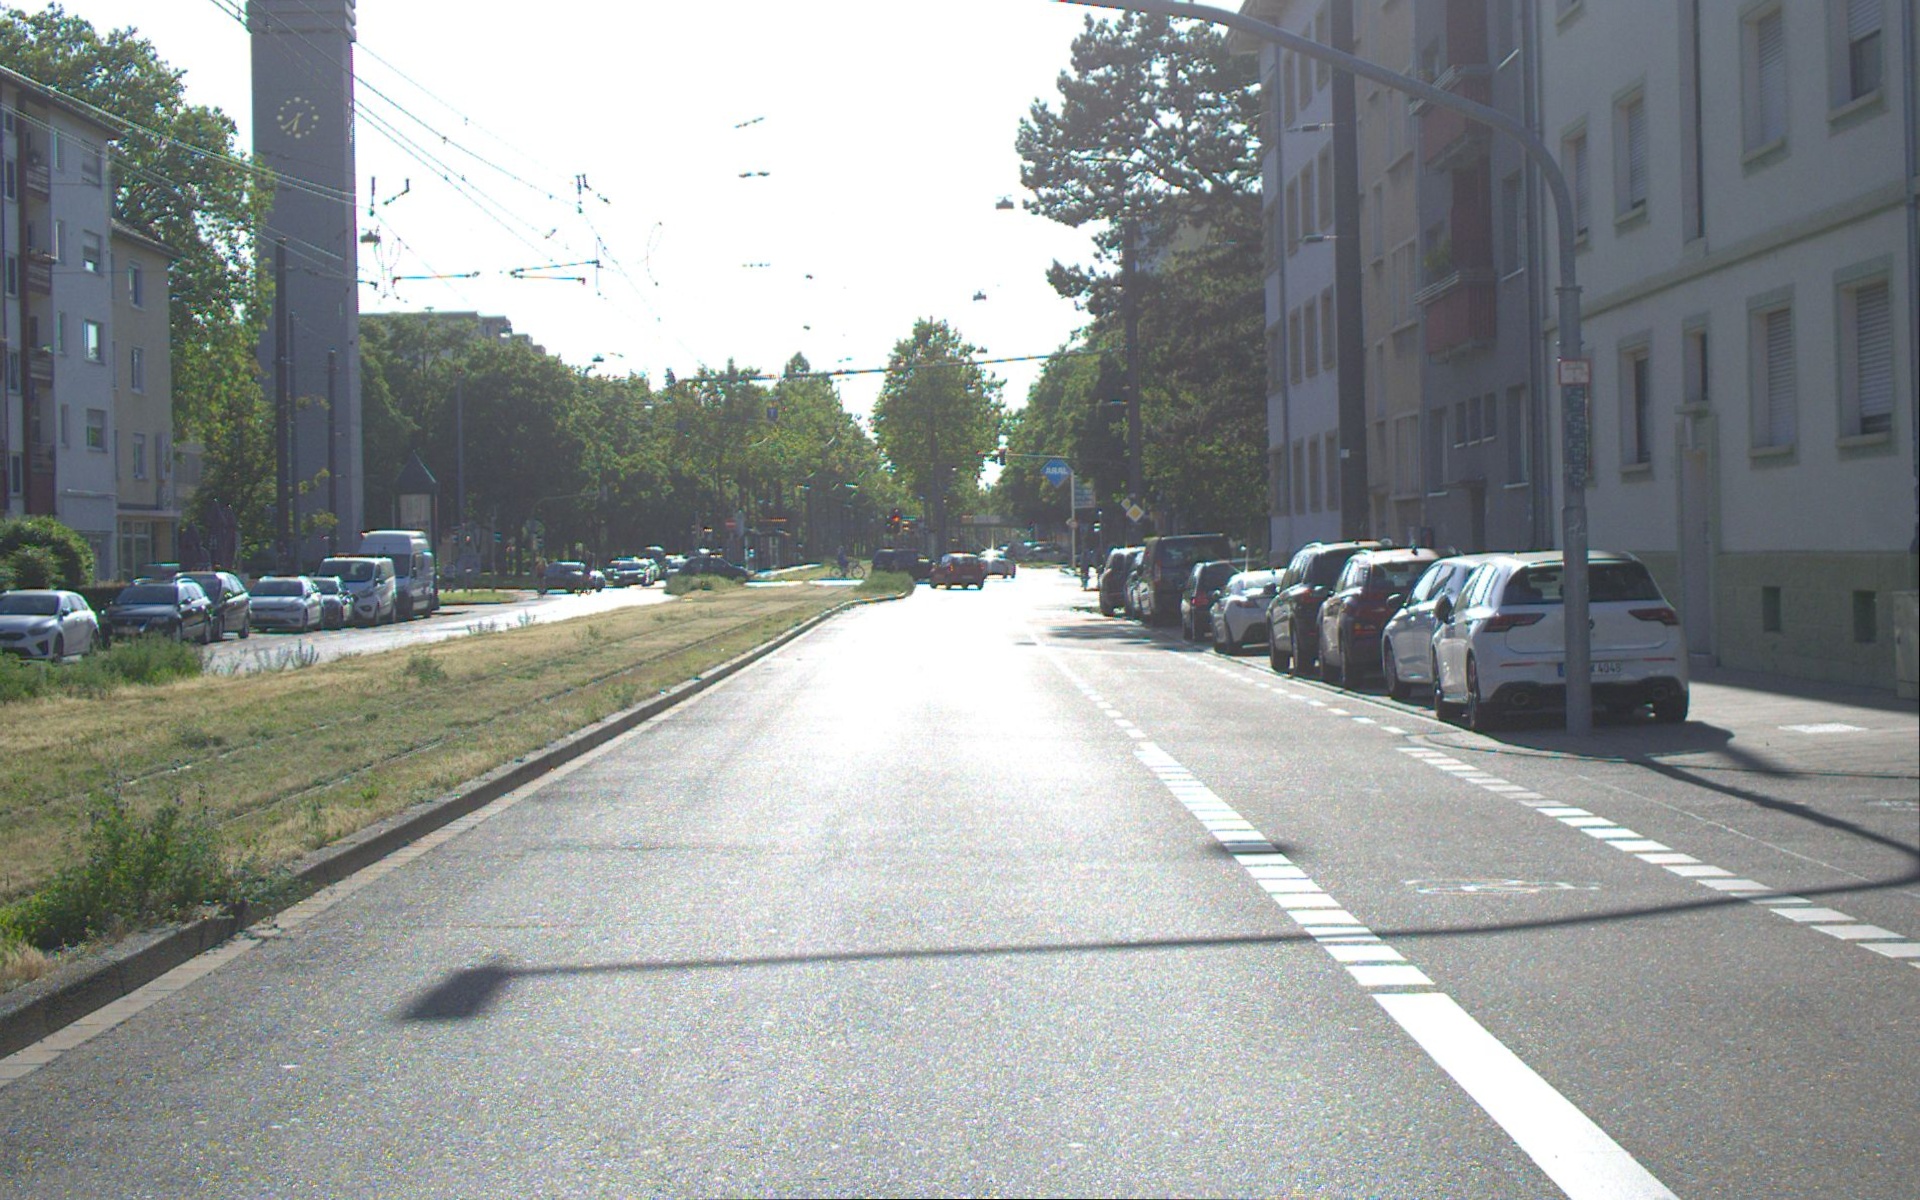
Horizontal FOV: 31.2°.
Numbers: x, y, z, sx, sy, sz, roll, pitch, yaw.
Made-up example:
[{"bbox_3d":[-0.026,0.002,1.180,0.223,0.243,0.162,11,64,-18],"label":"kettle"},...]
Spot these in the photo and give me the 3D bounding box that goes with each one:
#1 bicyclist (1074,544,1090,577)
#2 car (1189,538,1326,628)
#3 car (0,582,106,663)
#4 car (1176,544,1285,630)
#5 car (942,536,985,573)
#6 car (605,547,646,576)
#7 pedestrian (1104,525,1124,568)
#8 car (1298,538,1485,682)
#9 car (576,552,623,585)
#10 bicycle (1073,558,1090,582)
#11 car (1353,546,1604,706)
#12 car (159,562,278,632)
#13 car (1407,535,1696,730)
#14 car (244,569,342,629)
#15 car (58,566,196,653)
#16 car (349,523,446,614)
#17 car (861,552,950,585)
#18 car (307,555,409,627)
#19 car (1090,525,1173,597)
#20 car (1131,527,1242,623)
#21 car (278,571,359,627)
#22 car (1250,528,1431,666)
[{"bbox_3d":[5.076,-1.647,142.969,0.638,1.318,0.803,1,1,2],"label":"bicyclist"},{"bbox_3d":[4.824,-0.304,56.226,1.702,1.271,4.304,-5,1,-1],"label":"car"},{"bbox_3d":[-18.090,0.413,67.150,1.728,1.449,4.376,0,1,0],"label":"car"},{"bbox_3d":[5.017,-0.267,64.166,1.635,1.449,3.789,-4,1,0],"label":"car"},{"bbox_3d":[0.133,-1.950,146.655,1.694,1.503,3.699,1,1,-2],"label":"car"},{"bbox_3d":[-18.950,-2.185,194.900,1.806,1.527,4.361,-1,1,0],"label":"car"},{"bbox_3d":[6.693,-2.321,149.546,0.703,1.783,0.694,-4,2,6],"label":"pedestrian"},{"bbox_3d":[4.995,0.073,40.235,1.635,1.512,4.189,-2,1,0],"label":"car"},{"bbox_3d":[-17.030,-1.514,162.481,1.694,1.443,4.217,-2,1,1],"label":"car"},{"bbox_3d":[5.065,-1.233,142.913,0.648,0.969,1.803,1,1,3],"label":"bicycle"},{"bbox_3d":[5.220,0.218,35.098,1.635,1.453,4.082,-2,1,-4],"label":"car"},{"bbox_3d":[-18.153,-0.101,84.318,1.993,1.602,4.151,1,1,0],"label":"car"},{"bbox_3d":[4.975,0.218,29.462,1.694,1.453,4.379,-2,1,0],"label":"car"},{"bbox_3d":[-17.885,-0.042,92.358,1.892,1.486,4.704,1,1,-2],"label":"car"},{"bbox_3d":[-18.762,0.184,77.605,1.993,1.831,4.609,1,1,0],"label":"car"},{"bbox_3d":[-18.145,-1.053,111.120,2.032,2.859,6.228,0,1,1],"label":"car"},{"bbox_3d":[-2.820,-1.625,177.749,4.488,1.605,1.899,0,2,-43],"label":"car"},{"bbox_3d":[-18.146,-0.302,103.790,2.032,2.014,5.370,1,1,1],"label":"car"},{"bbox_3d":[4.485,-1.042,90.544,1.879,1.711,4.934,-4,1,1],"label":"car"},{"bbox_3d":[4.932,-0.575,75.444,1.913,1.893,5.136,-4,1,-1],"label":"car"},{"bbox_3d":[-18.245,-0.049,97.936,1.694,1.509,4.327,0,1,-3],"label":"car"},{"bbox_3d":[4.976,-0.085,45.483,1.635,1.641,4.374,-4,1,-2],"label":"car"}]
